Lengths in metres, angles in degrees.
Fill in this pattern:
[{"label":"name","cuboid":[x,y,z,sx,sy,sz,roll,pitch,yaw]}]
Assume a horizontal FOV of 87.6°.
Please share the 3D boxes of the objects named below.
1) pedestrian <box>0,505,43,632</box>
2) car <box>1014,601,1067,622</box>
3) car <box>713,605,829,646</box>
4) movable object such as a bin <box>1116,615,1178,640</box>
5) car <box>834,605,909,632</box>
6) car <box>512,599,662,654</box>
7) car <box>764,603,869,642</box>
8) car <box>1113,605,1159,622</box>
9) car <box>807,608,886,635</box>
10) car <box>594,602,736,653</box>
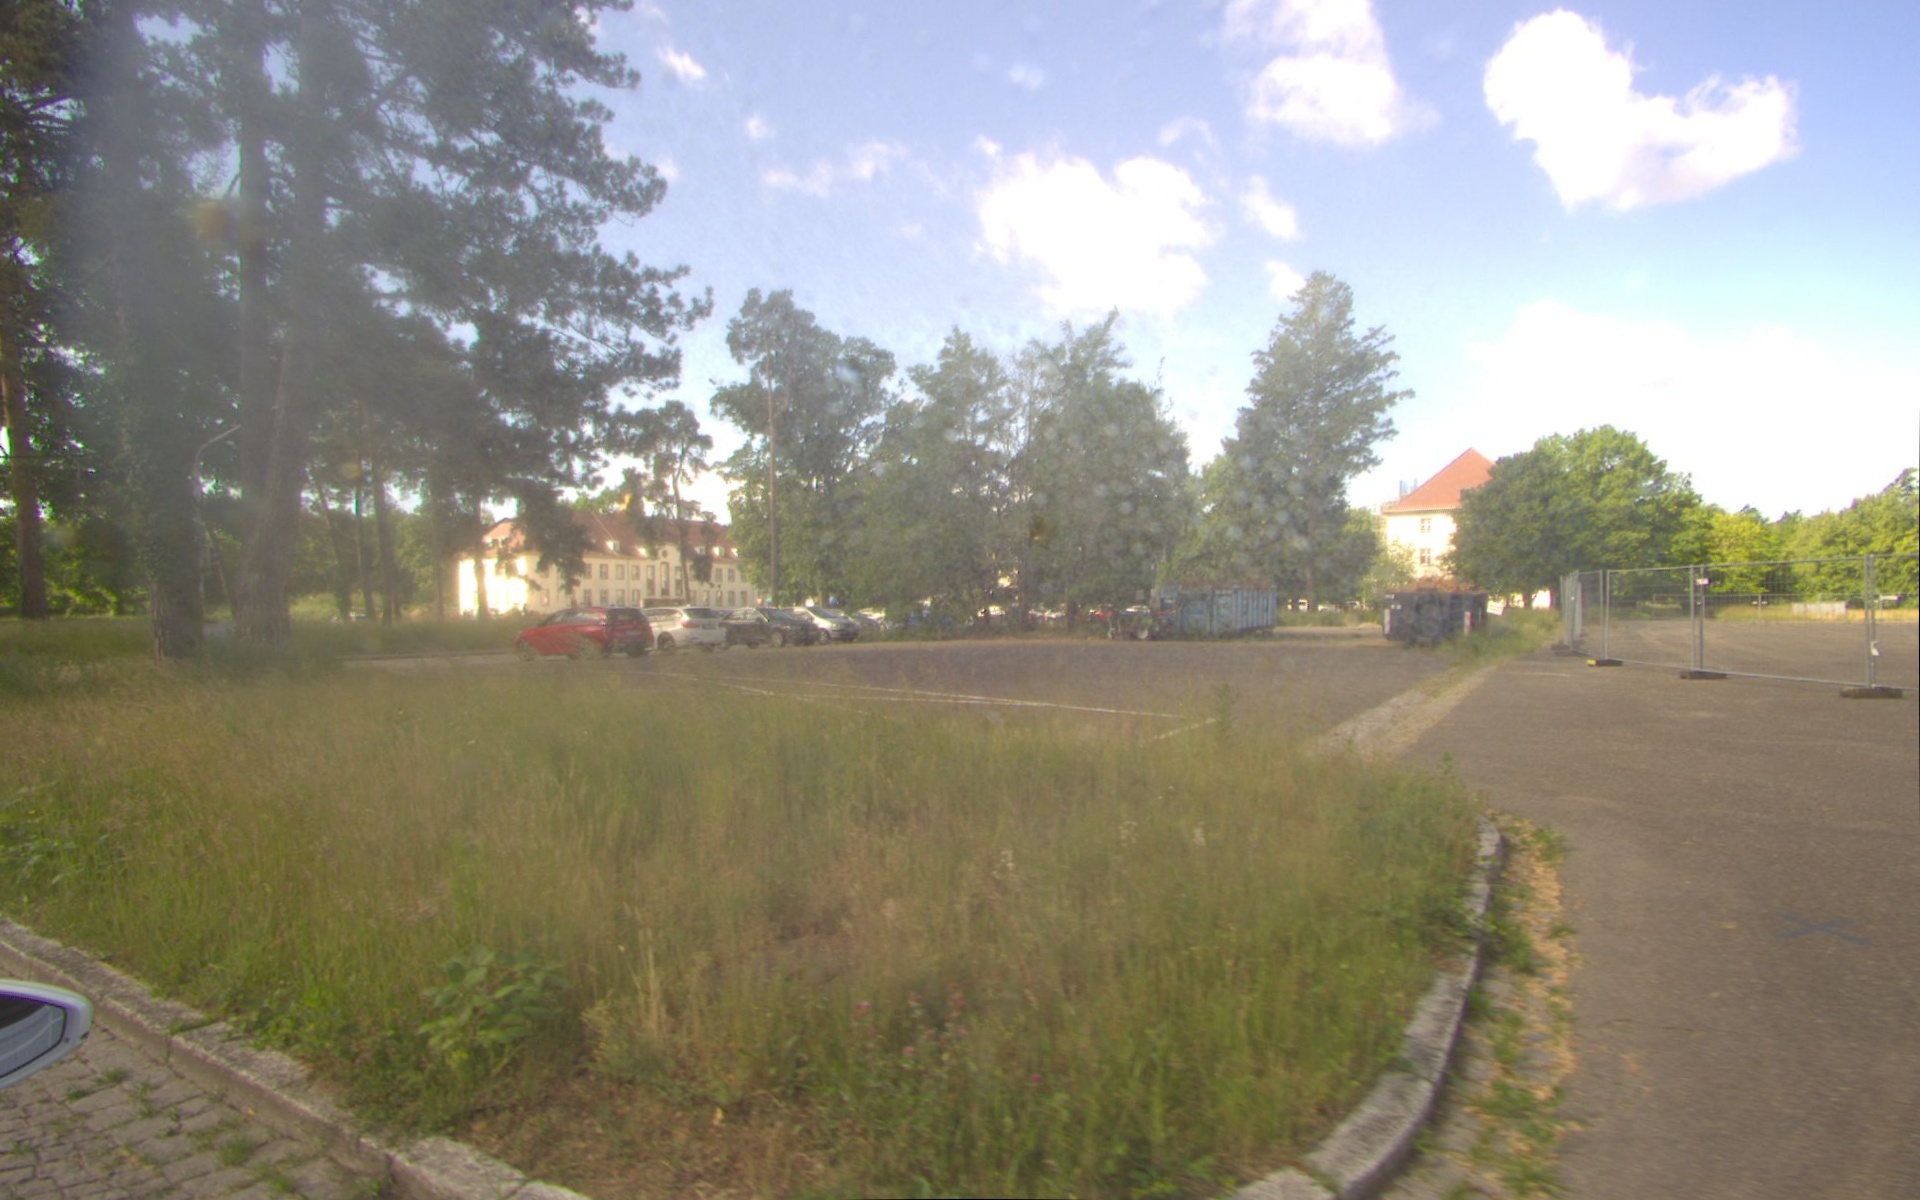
[{"label":"pedestrian","cuboid":[-14.346,-0.448,14.596,1.154,1.820,1.057,-1,1,-28]},{"label":"car","cuboid":[6.045,0.865,75.396,3.640,1.568,1.705,0,-1,33]},{"label":"car","cuboid":[-6.637,0.851,35.073,3.988,1.332,1.612,0,1,33]},{"label":"movable object such as a bin","cuboid":[5.902,0.866,31.616,1.696,0.762,1.143,-1,0,26]},{"label":"car","cuboid":[-5.162,1.080,58.220,4.181,1.487,1.720,-1,-1,33]},{"label":"car","cuboid":[-10.471,0.763,28.028,4.266,1.417,1.744,-2,-2,33]},{"label":"car","cuboid":[-5.424,0.850,37.655,3.740,1.390,1.719,-1,-1,34]},{"label":"car","cuboid":[15.888,1.234,90.488,3.682,1.568,1.705,0,-1,33]},{"label":"car","cuboid":[-6.299,1.208,55.376,4.181,1.443,1.720,-1,-1,33]},{"label":"car","cuboid":[-9.014,0.836,30.478,4.180,1.396,1.776,-3,-1,31]}]
